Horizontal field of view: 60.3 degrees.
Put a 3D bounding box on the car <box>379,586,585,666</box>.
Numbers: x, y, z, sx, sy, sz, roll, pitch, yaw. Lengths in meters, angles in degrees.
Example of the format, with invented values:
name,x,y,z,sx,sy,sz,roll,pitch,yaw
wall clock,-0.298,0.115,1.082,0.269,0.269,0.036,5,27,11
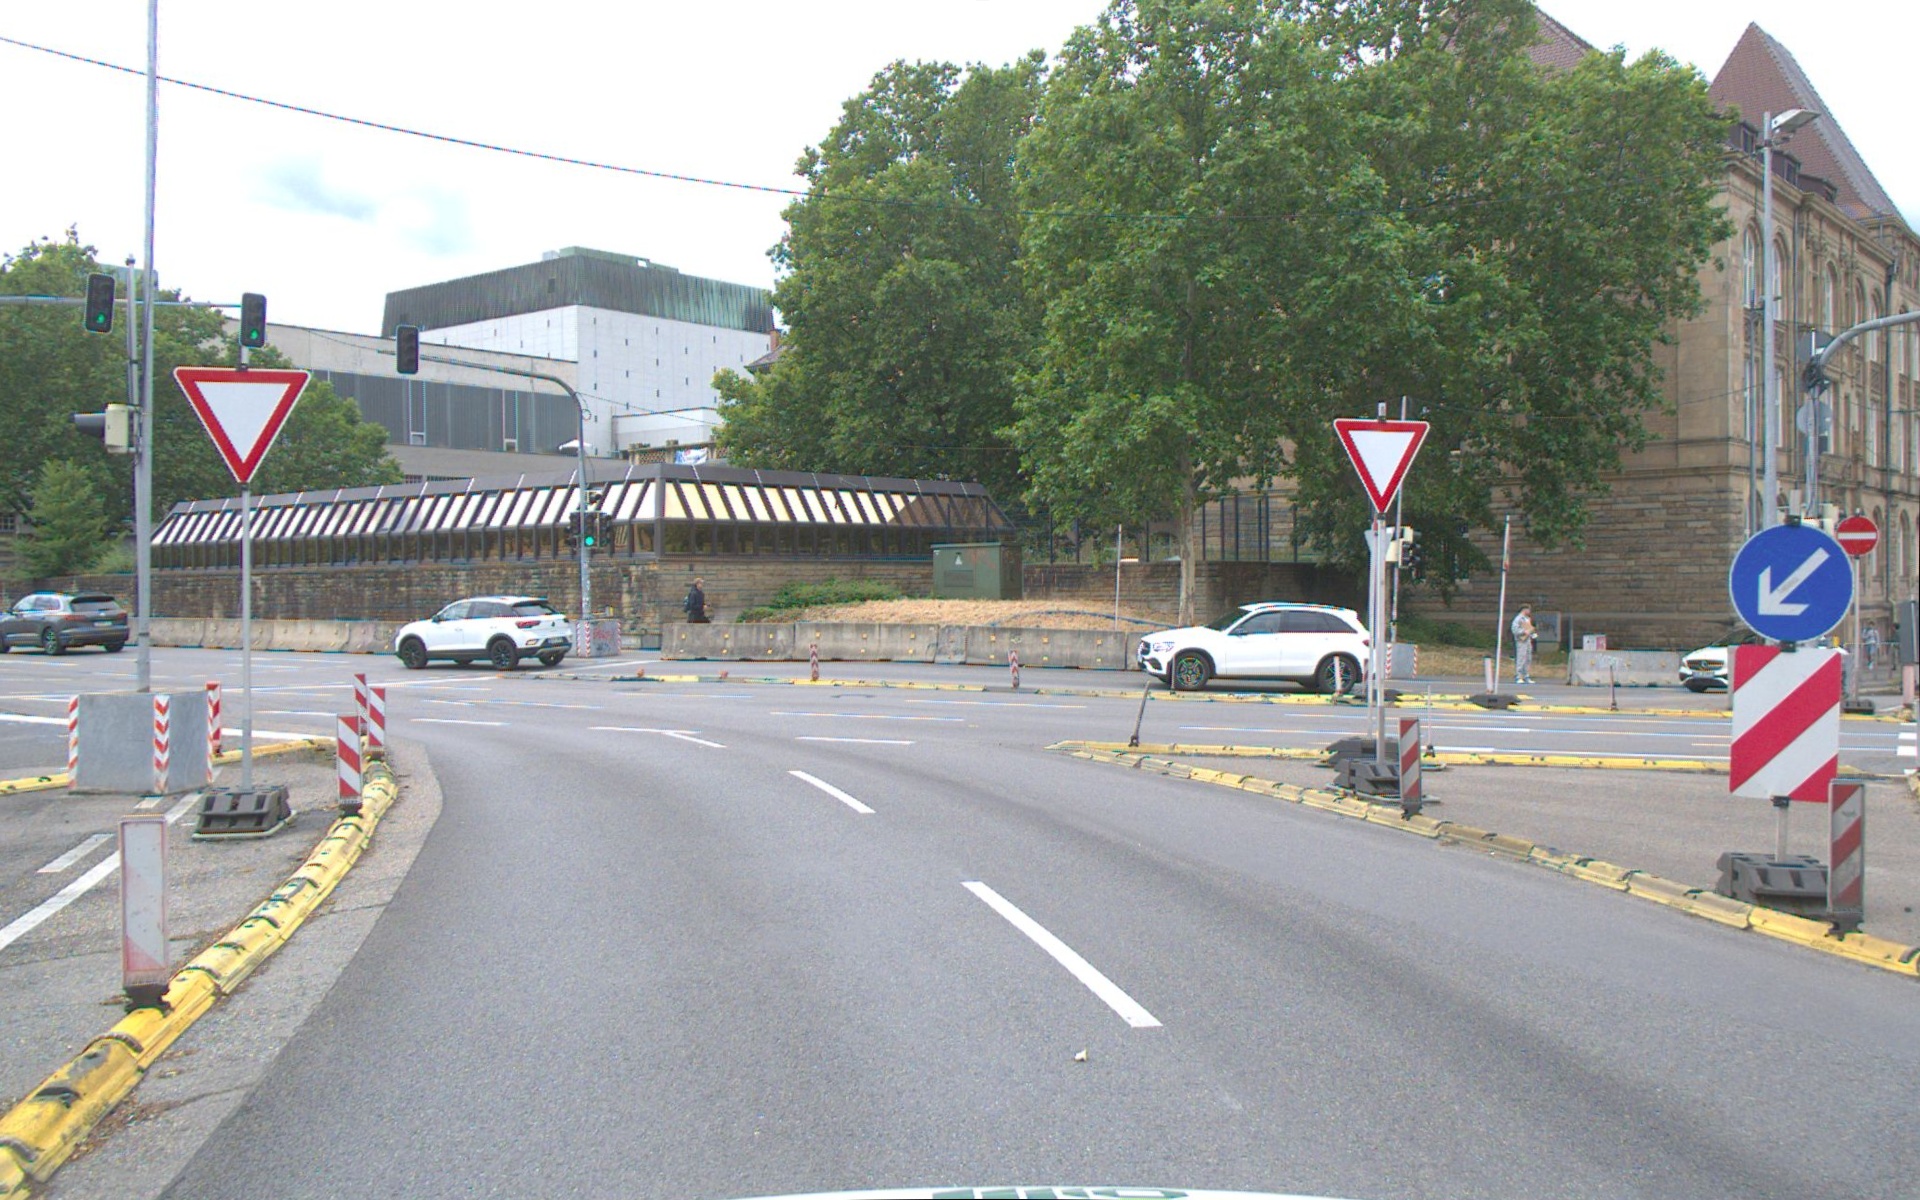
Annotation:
name,x,y,z,sx,sy,sz,roll,pitch,yaw
car,-10.674,0.584,36.936,4.230,1.595,1.756,-1,2,24

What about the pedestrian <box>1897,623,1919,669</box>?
name,x,y,z,sx,sy,sz,roll,pitch,yaw
pedestrian,34.765,1.690,60.608,0.648,1.664,0.848,-1,-1,34

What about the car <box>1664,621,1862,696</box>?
name,x,y,z,sx,sy,sz,roll,pitch,yaw
car,17.755,1.246,36.560,4.315,1.460,1.725,0,1,-27

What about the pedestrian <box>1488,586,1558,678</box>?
name,x,y,z,sx,sy,sz,roll,pitch,yaw
pedestrian,12.699,0.704,37.346,1.166,2.049,1.204,0,0,-1

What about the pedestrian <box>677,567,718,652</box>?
name,x,y,z,sx,sy,sz,roll,pitch,yaw
pedestrian,-6.364,0.227,40.096,0.830,2.049,0.623,-1,-1,6

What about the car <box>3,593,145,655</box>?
name,x,y,z,sx,sy,sz,roll,pitch,yaw
car,-25.041,0.634,46.687,4.390,1.595,1.823,1,2,36

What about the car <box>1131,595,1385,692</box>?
name,x,y,z,sx,sy,sz,roll,pitch,yaw
car,5.658,0.808,31.729,4.449,1.671,1.816,1,1,-6
